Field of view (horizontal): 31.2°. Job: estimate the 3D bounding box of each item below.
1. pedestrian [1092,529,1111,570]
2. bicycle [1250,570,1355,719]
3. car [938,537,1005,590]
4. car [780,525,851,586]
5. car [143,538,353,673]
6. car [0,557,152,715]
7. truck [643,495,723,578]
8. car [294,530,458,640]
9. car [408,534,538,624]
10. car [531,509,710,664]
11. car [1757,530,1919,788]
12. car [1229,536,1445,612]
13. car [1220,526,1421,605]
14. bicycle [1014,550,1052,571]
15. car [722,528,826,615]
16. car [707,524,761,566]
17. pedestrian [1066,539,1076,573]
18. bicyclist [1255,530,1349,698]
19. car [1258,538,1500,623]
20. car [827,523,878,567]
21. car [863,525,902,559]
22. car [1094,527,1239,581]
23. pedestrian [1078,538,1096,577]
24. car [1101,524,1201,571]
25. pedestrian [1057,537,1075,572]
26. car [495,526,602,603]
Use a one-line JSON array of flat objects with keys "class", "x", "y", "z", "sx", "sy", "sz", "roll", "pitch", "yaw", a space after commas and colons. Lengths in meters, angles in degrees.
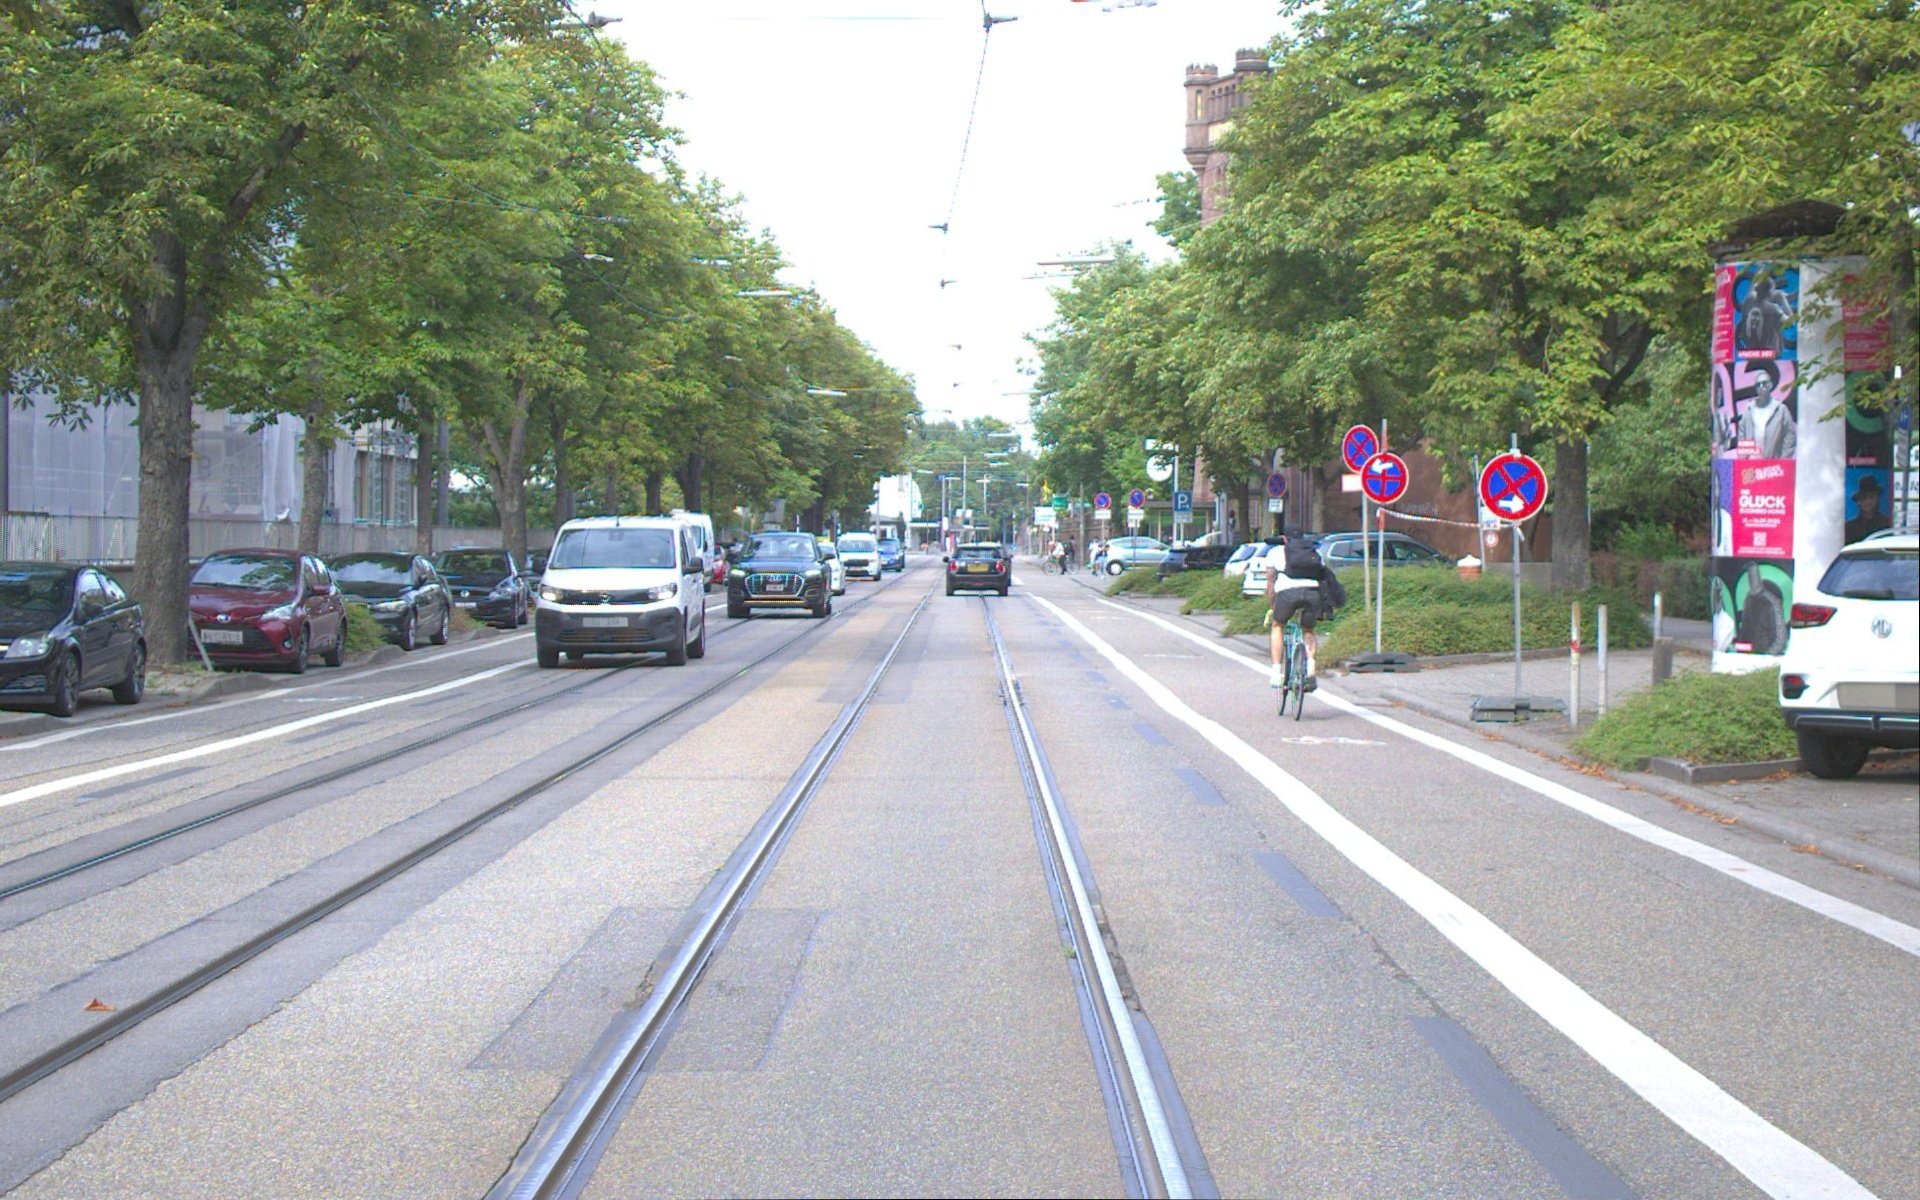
[{"class": "pedestrian", "x": 5.724, "y": -2.048, "z": 139.086, "sx": 0.726, "sy": 1.640, "sz": 0.766, "roll": 1, "pitch": 1, "yaw": 2}, {"class": "bicycle", "x": 3.050, "y": 0.374, "z": 30.775, "sx": 0.657, "sy": 1.244, "sz": 2.125, "roll": 1, "pitch": 1, "yaw": -1}, {"class": "car", "x": 0.301, "y": -1.033, "z": 96.021, "sx": 1.793, "sy": 1.418, "sz": 4.000, "roll": 1, "pitch": 1, "yaw": 0}, {"class": "car", "x": -3.987, "y": -1.246, "z": 95.384, "sx": 1.802, "sy": 1.616, "sz": 4.485, "roll": -1, "pitch": 1, "yaw": -1}, {"class": "car", "x": -8.816, "y": 0.029, "z": 42.891, "sx": 1.802, "sy": 1.578, "sz": 4.031, "roll": -1, "pitch": 1, "yaw": -1}, {"class": "car", "x": -9.006, "y": 0.301, "z": 32.502, "sx": 1.802, "sy": 1.369, "sz": 4.031, "roll": -1, "pitch": 1, "yaw": -1}, {"class": "truck", "x": -8.526, "y": -1.962, "z": 106.126, "sx": 2.071, "sy": 2.462, "sz": 4.899, "roll": -1, "pitch": 1, "yaw": -1}, {"class": "car", "x": -8.750, "y": -0.255, "z": 51.758, "sx": 1.802, "sy": 1.578, "sz": 4.031, "roll": -1, "pitch": 1, "yaw": -1}, {"class": "car", "x": -8.819, "y": -0.407, "z": 62.493, "sx": 1.802, "sy": 1.578, "sz": 4.031, "roll": -1, "pitch": 1, "yaw": -1}, {"class": "car", "x": -4.164, "y": -0.200, "z": 42.727, "sx": 1.802, "sy": 1.817, "sz": 4.485, "roll": -1, "pitch": 1, "yaw": -1}, {"class": "car", "x": 6.940, "y": 0.350, "z": 22.440, "sx": 3.437, "sy": 1.567, "sz": 1.560, "roll": 0, "pitch": 1, "yaw": -38}, {"class": "car", "x": 7.421, "y": -0.520, "z": 67.947, "sx": 3.986, "sy": 1.420, "sz": 1.885, "roll": 1, "pitch": 1, "yaw": -3}, {"class": "car", "x": 7.664, "y": -0.744, "z": 73.347, "sx": 3.986, "sy": 1.622, "sz": 1.885, "roll": 1, "pitch": 1, "yaw": -3}, {"class": "bicycle", "x": 3.551, "y": -1.935, "z": 167.193, "sx": 1.721, "sy": 0.988, "sz": 0.658, "roll": 2, "pitch": 1, "yaw": 9}, {"class": "car", "x": -3.594, "y": -0.574, "z": 67.089, "sx": 1.802, "sy": 1.616, "sz": 4.485, "roll": -1, "pitch": 1, "yaw": -1}, {"class": "car", "x": -8.652, "y": -2.122, "z": 131.830, "sx": 1.802, "sy": 1.578, "sz": 4.031, "roll": -1, "pitch": 1, "yaw": -1}, {"class": "pedestrian", "x": 6.616, "y": -2.635, "z": 204.209, "sx": 0.518, "sy": 2.007, "sz": 0.480, "roll": 1, "pitch": 1, "yaw": 4}, {"class": "bicyclist", "x": 3.050, "y": 0.110, "z": 30.740, "sx": 0.657, "sy": 1.458, "sz": 1.179, "roll": 1, "pitch": 1, "yaw": -1}, {"class": "car", "x": 7.403, "y": -0.356, "z": 61.047, "sx": 3.986, "sy": 1.420, "sz": 1.885, "roll": 1, "pitch": 1, "yaw": -3}, {"class": "car", "x": -4.015, "y": -2.060, "z": 129.324, "sx": 1.802, "sy": 1.616, "sz": 4.485, "roll": -1, "pitch": 1, "yaw": -1}, {"class": "car", "x": -3.783, "y": -2.847, "z": 168.490, "sx": 1.802, "sy": 1.616, "sz": 4.485, "roll": -1, "pitch": 1, "yaw": -1}, {"class": "car", "x": 5.930, "y": -1.339, "z": 98.989, "sx": 3.986, "sy": 1.503, "sz": 1.885, "roll": 1, "pitch": 1, "yaw": -3}, {"class": "pedestrian", "x": 5.503, "y": -1.835, "z": 148.679, "sx": 0.726, "sy": 1.640, "sz": 0.766, "roll": 1, "pitch": 1, "yaw": 2}, {"class": "car", "x": 8.044, "y": -2.223, "z": 145.152, "sx": 3.986, "sy": 1.904, "sz": 2.000, "roll": 1, "pitch": 1, "yaw": -2}, {"class": "pedestrian", "x": 5.141, "y": -2.213, "z": 166.998, "sx": 0.726, "sy": 1.640, "sz": 0.766, "roll": 2, "pitch": 1, "yaw": 10}, {"class": "car", "x": -8.676, "y": -0.764, "z": 72.724, "sx": 1.802, "sy": 1.578, "sz": 4.031, "roll": -1, "pitch": 1, "yaw": -1}]
